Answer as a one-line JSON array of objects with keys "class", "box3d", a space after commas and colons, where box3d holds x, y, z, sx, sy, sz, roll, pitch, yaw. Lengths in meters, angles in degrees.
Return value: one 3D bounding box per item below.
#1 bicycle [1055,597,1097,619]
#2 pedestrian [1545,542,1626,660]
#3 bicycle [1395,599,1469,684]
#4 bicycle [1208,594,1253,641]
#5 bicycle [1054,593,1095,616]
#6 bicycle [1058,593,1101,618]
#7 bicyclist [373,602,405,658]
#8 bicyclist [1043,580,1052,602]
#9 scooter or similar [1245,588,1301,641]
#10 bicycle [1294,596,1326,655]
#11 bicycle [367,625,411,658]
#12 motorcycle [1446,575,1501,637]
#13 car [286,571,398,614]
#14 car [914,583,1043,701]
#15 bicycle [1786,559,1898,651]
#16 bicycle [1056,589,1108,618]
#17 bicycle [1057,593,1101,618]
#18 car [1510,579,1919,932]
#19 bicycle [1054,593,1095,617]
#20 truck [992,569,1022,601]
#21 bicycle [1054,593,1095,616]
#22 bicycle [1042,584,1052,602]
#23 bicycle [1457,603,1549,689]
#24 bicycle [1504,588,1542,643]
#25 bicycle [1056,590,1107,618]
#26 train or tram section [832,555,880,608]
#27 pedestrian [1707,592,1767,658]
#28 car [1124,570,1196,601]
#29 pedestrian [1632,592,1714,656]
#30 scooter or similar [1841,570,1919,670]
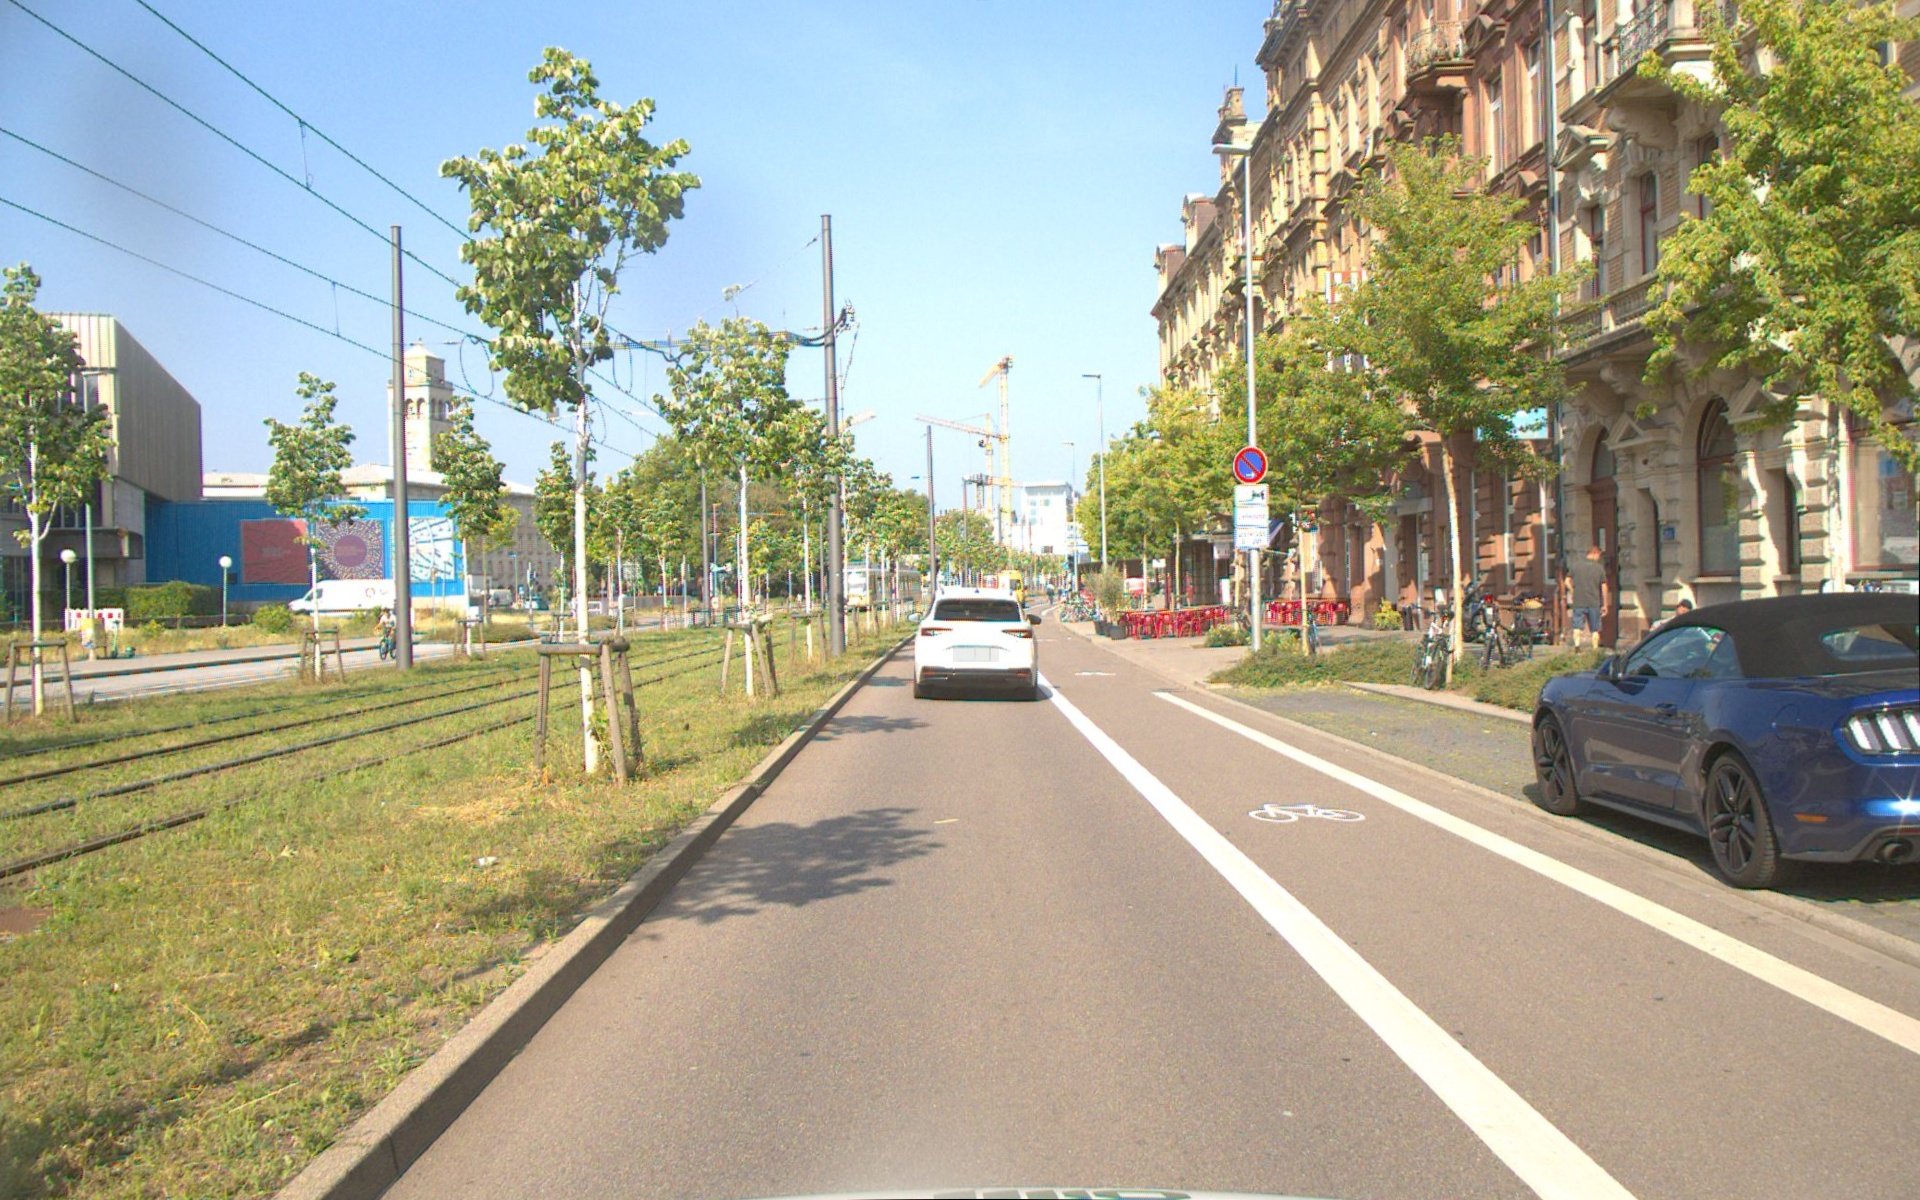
[{"class": "bicycle", "box3d": [5.383, 0.371, 76.858, 1.894, 0.889, 0.441, -4, 0, 1]}, {"class": "pedestrian", "box3d": [9.529, 0.018, 25.214, 0.807, 1.726, 0.792, -3, 0, -4]}, {"class": "bicycle", "box3d": [6.542, 0.548, 22.988, 0.482, 1.113, 1.826, -1, 0, 0]}, {"class": "bicycle", "box3d": [6.687, 0.423, 40.958, 0.584, 1.142, 1.923, -1, 0, -6]}, {"class": "bicycle", "box3d": [5.493, 0.222, 79.476, 1.894, 0.962, 0.441, -3, 0, 4]}, {"class": "bicycle", "box3d": [5.417, 0.253, 75.146, 1.894, 1.003, 0.471, -4, 0, 1]}, {"class": "bicyclist", "box3d": [-18.599, 0.970, 53.874, 0.634, 1.766, 0.918, -3, 0, 0]}, {"class": "bicyclist", "box3d": [7.514, -0.764, 142.578, 0.694, 1.929, 0.843, -1, 0, 1]}, {"class": "scooter or similar", "box3d": [7.538, 0.353, 39.834, 1.230, 1.177, 0.340, -4, 0, 4]}, {"class": "bicycle", "box3d": [6.954, 0.494, 32.810, 0.494, 1.078, 1.715, -3, 1, 14]}, {"class": "bicycle", "box3d": [-18.593, 1.345, 53.893, 0.648, 0.978, 2.078, -3, 0, 0]}, {"class": "motorcycle", "box3d": [10.421, 0.119, 33.596, 0.454, 1.196, 1.945, -3, 0, 0]}, {"class": "car", "box3d": [-40.555, -0.479, 108.720, 6.776, 2.685, 2.498, 1, 0, -21]}, {"class": "car", "box3d": [0.252, 0.574, 25.129, 1.780, 1.617, 4.406, -1, 0, 0]}, {"class": "bicycle", "box3d": [11.095, 0.056, 20.853, 0.442, 1.102, 1.445, -1, 0, -9]}, {"class": "bicycle", "box3d": [5.434, 0.160, 73.746, 2.193, 1.123, 0.588, -4, 0, 1]}, {"class": "bicycle", "box3d": [5.444, 0.256, 75.626, 1.915, 1.003, 0.471, -4, 0, 1]}, {"class": "car", "box3d": [4.732, 0.632, 9.362, 1.701, 1.420, 4.715, -3, 0, 1]}, {"class": "bicycle", "box3d": [5.431, 0.240, 78.547, 1.894, 1.030, 0.441, -3, 0, 4]}, {"class": "truck", "box3d": [3.541, -1.123, 124.187, 2.167, 2.358, 5.891, -1, 0, 2]}, {"class": "bicycle", "box3d": [5.460, 0.220, 78.997, 1.894, 0.962, 0.441, -3, 0, 4]}, {"class": "bicycle", "box3d": [7.485, -0.578, 142.740, 0.765, 1.522, 2.801, -1, 0, 1]}, {"class": "bicycle", "box3d": [7.276, 0.597, 22.104, 0.447, 1.101, 1.867, -3, -2, 41]}, {"class": "bicycle", "box3d": [10.846, 0.294, 31.902, 0.388, 1.036, 1.256, -1, 0, 5]}, {"class": "bicycle", "box3d": [5.460, 0.162, 74.301, 2.193, 1.123, 0.519, -4, 0, 1]}, {"class": "train or tram section", "box3d": [-7.631, -1.280, 122.936, 2.839, 3.649, 12.475, -2, 0, -1]}, {"class": "pedestrian", "box3d": [10.807, 0.347, 23.023, 0.559, 0.869, 0.457, -4, 0, -6]}, {"class": "car", "box3d": [12.103, -0.878, 100.166, 4.262, 1.713, 2.001, -1, 0, 6]}, {"class": "pedestrian", "box3d": [10.652, 0.346, 24.717, 0.860, 0.892, 0.710, -3, 0, -3]}, {"class": "scooter or similar", "box3d": [10.989, 0.226, 19.591, 0.594, 1.144, 0.931, -1, 0, 0]}]
